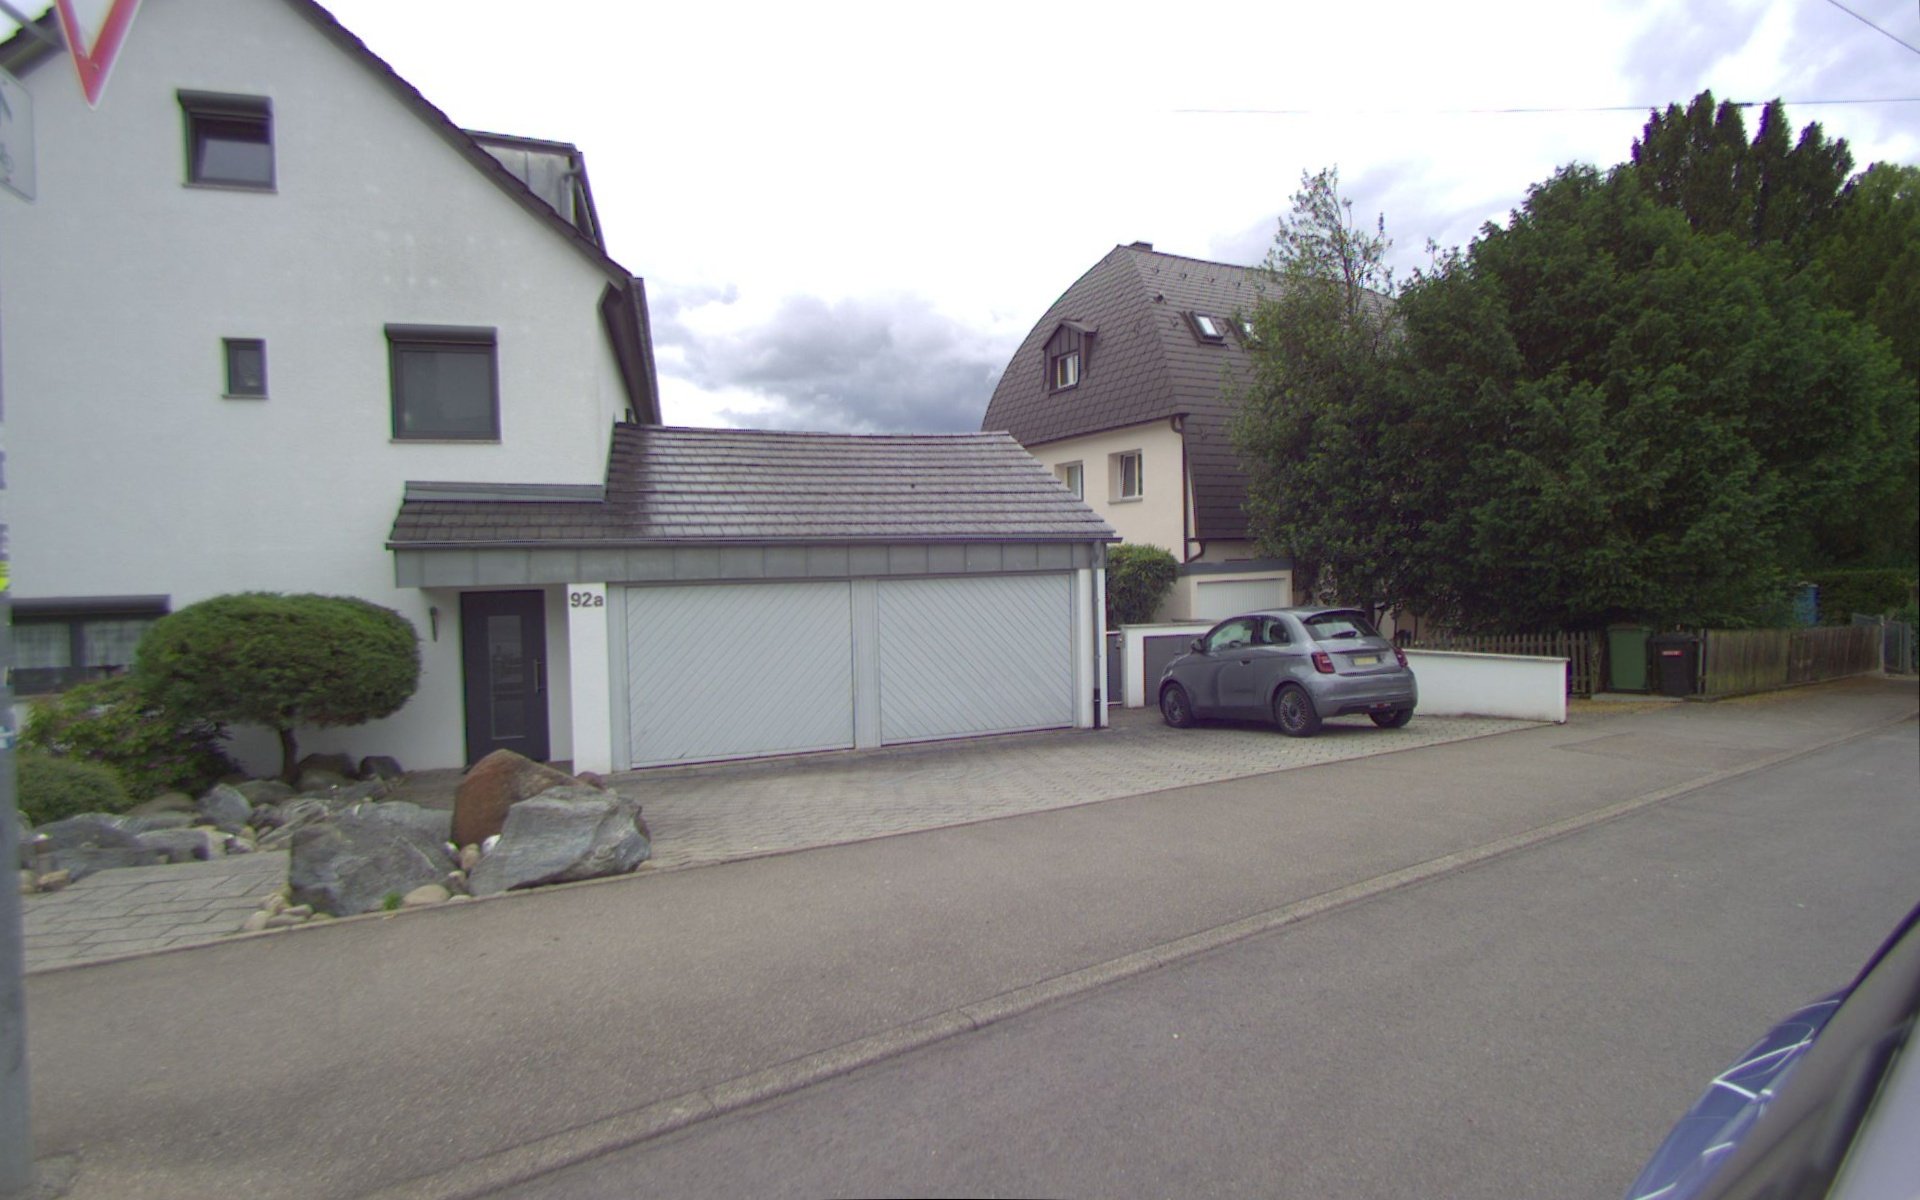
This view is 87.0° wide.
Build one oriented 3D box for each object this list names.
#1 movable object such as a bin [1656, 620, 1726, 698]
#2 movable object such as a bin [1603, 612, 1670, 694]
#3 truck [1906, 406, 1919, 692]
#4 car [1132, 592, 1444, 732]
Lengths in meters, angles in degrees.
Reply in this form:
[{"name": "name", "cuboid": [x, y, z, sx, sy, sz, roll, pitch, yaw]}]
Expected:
[{"name": "movable object such as a bin", "cuboid": [10.886, 0.871, 15.075, 0.934, 1.120, 0.599, 3, -5, -40]}, {"name": "movable object such as a bin", "cuboid": [10.427, 0.815, 15.596, 0.934, 1.223, 0.599, 3, -5, -40]}, {"name": "truck", "cuboid": [19.420, -0.806, 17.580, 7.807, 4.608, 3.153, 0, 1, -38]}, {"name": "car", "cuboid": [4.025, 0.788, 13.128, 1.657, 1.516, 3.863, 0, -4, -23]}]
